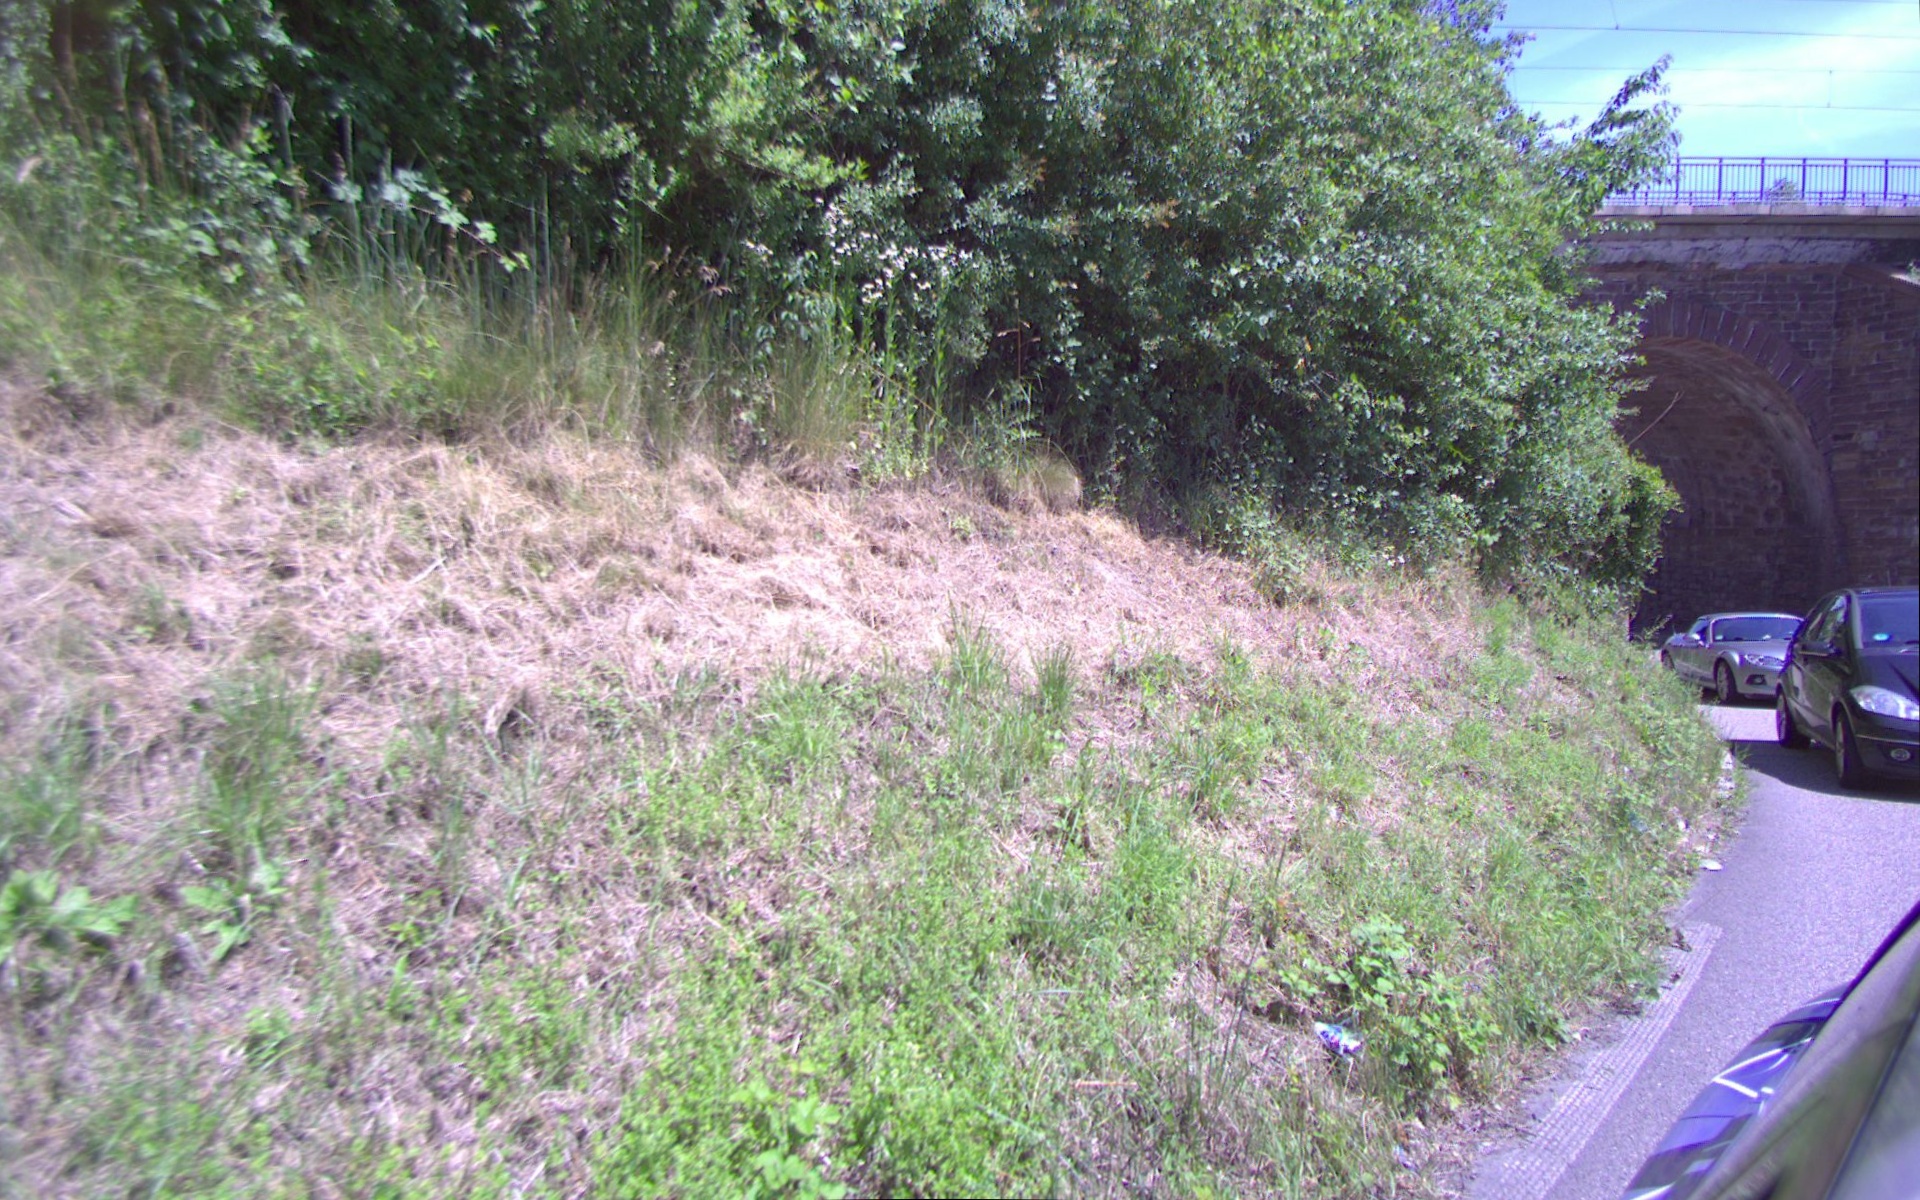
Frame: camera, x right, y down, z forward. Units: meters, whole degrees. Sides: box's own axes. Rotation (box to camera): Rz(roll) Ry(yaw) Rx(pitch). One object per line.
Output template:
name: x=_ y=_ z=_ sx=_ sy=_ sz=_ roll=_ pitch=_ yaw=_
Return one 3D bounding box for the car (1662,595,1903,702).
car: x=11.873 y=0.635 z=14.886 sx=1.627 sy=1.339 sz=3.416 roll=-2 pitch=0 yaw=19

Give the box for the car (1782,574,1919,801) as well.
car: x=8.305 y=0.598 z=8.371 sx=1.782 sy=1.599 sz=3.758 roll=0 pitch=1 yaw=31
